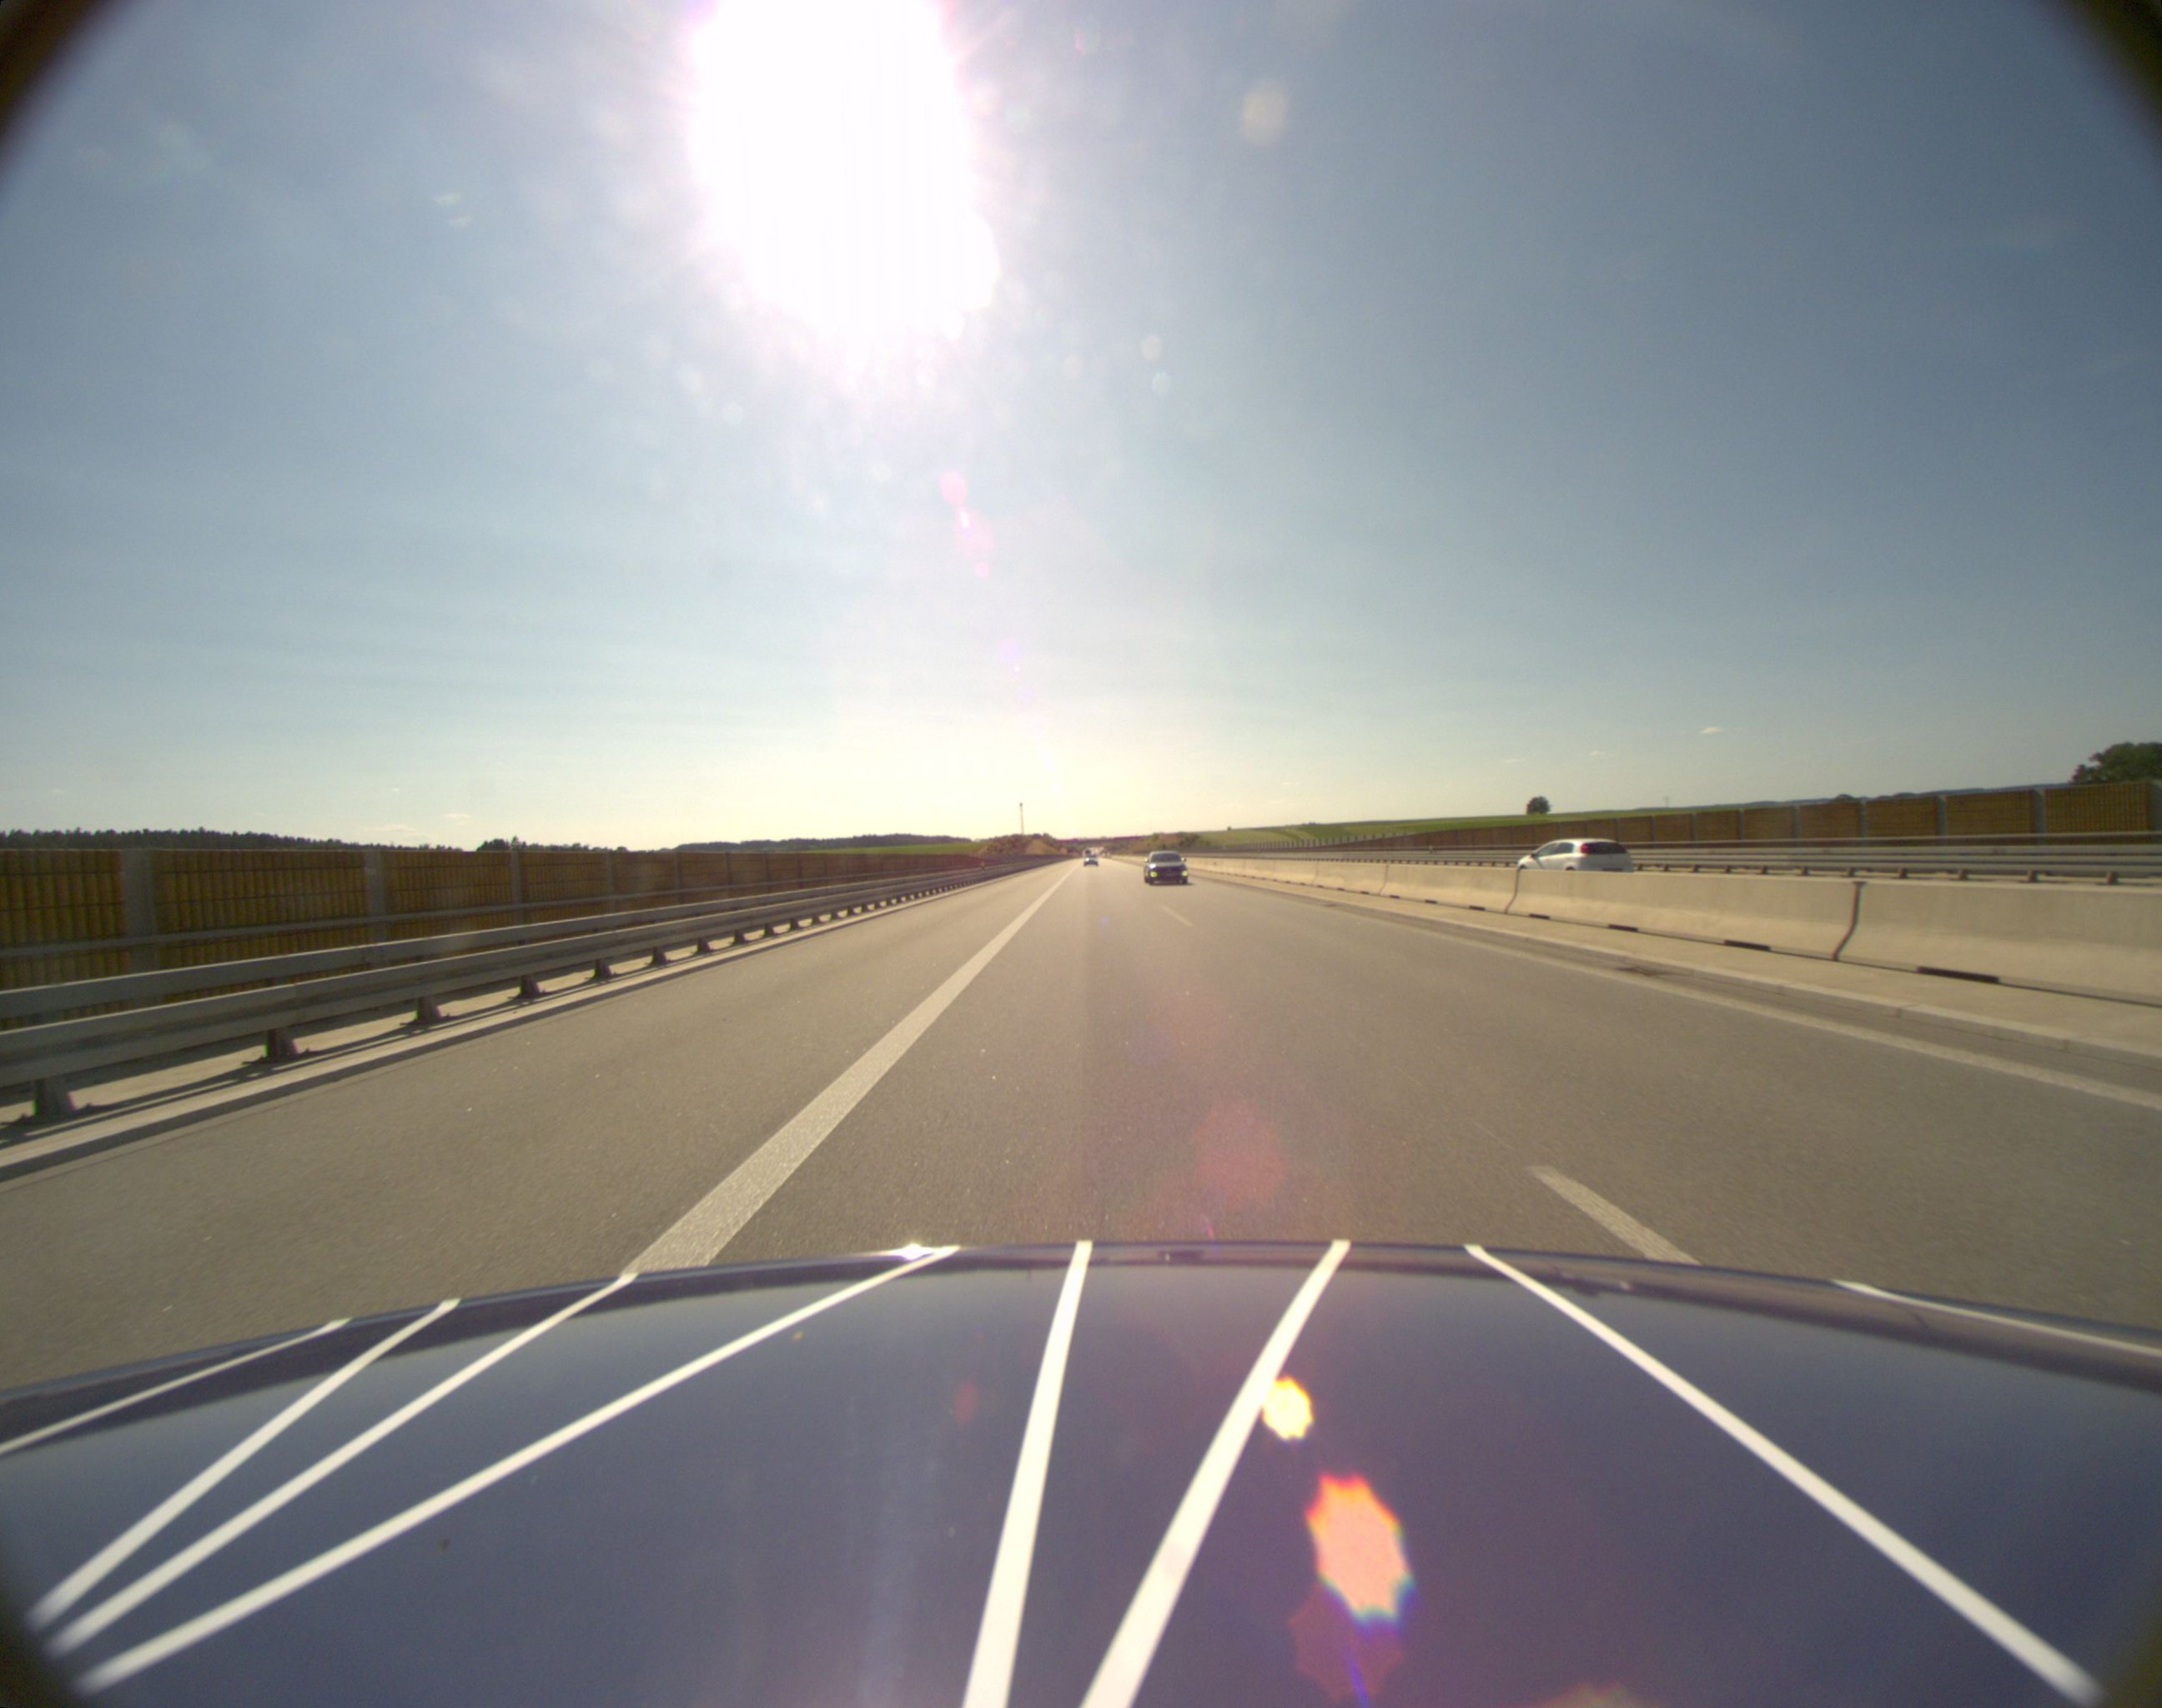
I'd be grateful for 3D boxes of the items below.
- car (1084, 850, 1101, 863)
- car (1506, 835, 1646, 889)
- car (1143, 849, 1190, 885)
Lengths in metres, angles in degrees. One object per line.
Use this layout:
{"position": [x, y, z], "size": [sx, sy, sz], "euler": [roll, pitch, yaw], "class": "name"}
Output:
{"position": [1.452, 0.305, 94.300], "size": [1.909, 1.449, 4.376], "euler": [-2, 0, 2], "class": "car"}
{"position": [15.473, 0.222, 24.069], "size": [1.651, 1.500, 4.332], "euler": [-2, 1, 1], "class": "car"}
{"position": [4.055, 0.571, 36.790], "size": [1.776, 1.560, 4.988], "euler": [-2, 0, 1], "class": "car"}
